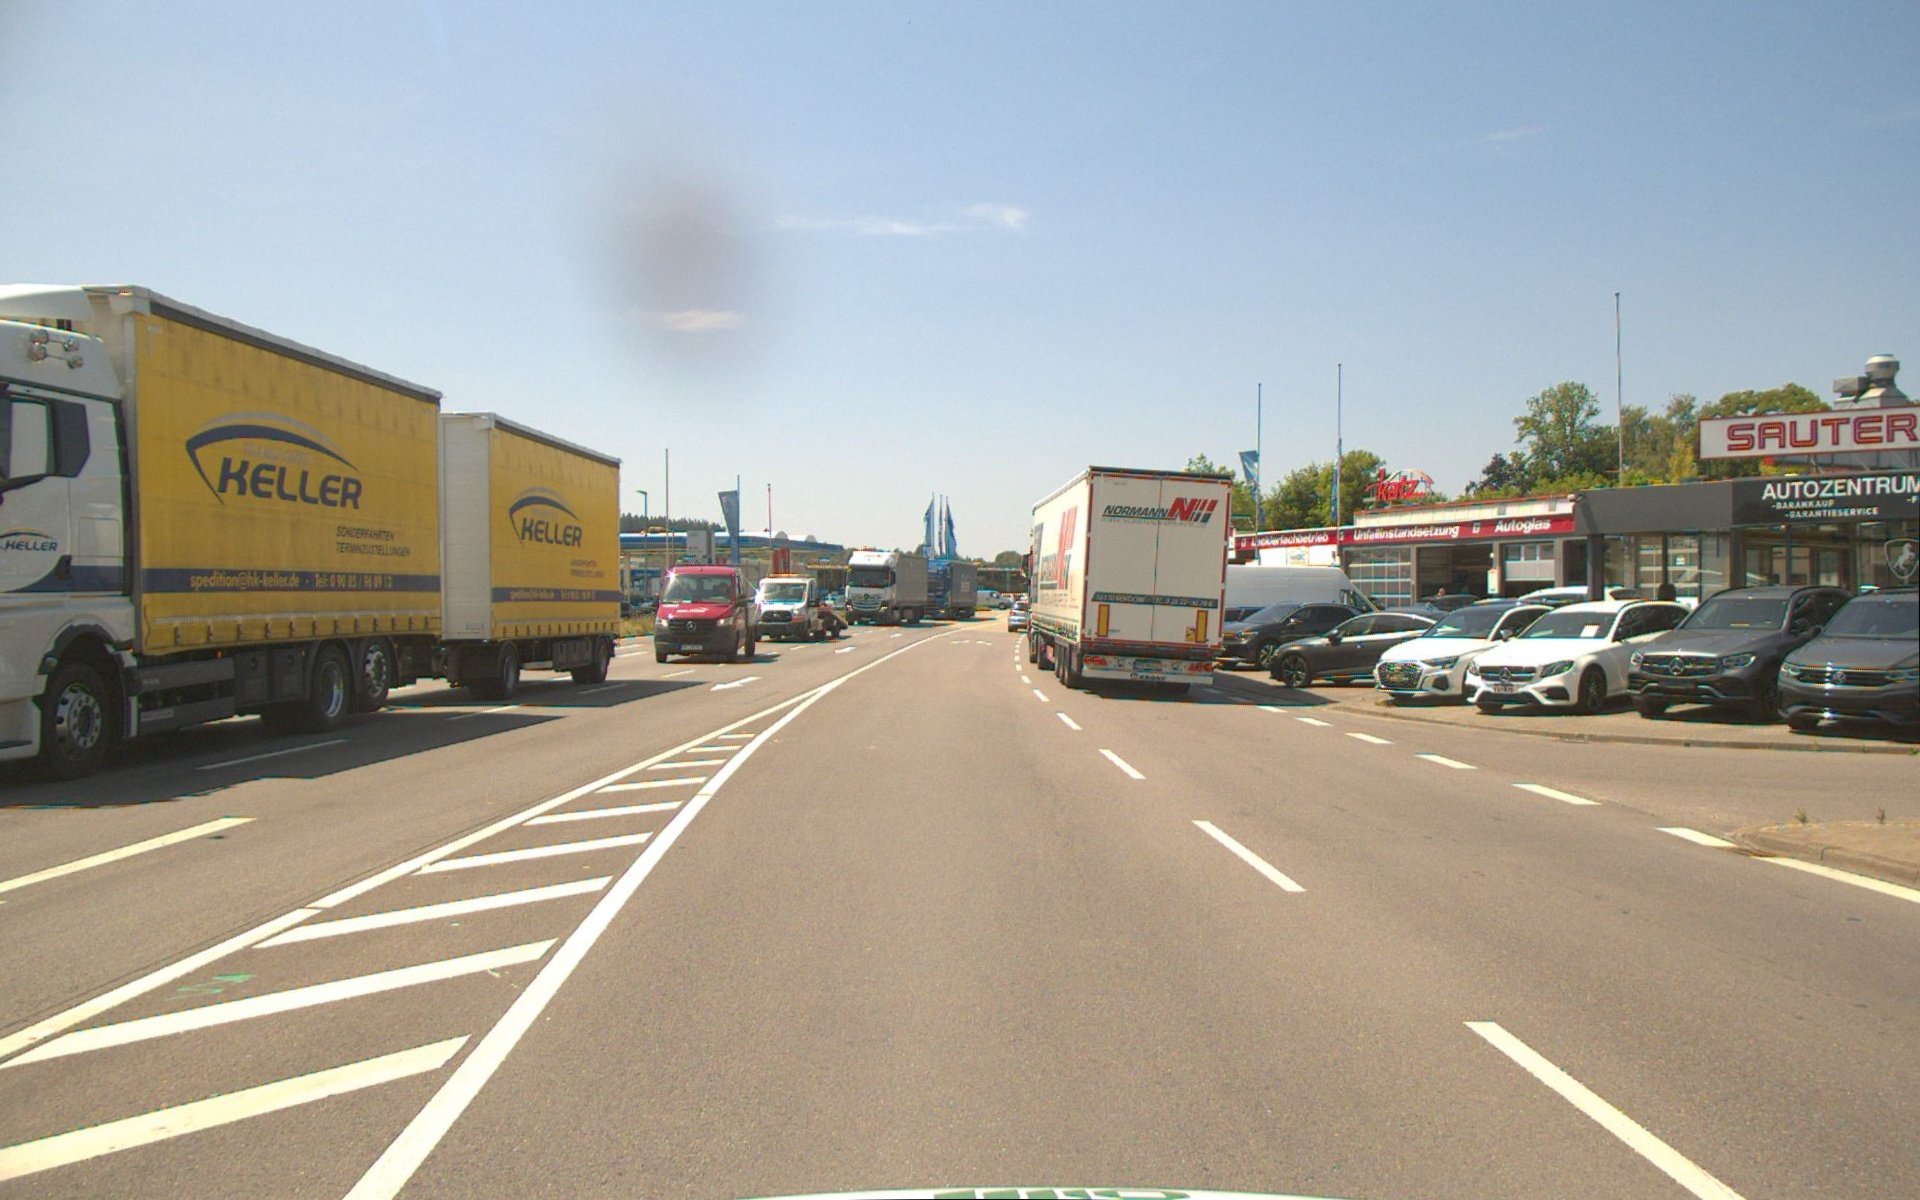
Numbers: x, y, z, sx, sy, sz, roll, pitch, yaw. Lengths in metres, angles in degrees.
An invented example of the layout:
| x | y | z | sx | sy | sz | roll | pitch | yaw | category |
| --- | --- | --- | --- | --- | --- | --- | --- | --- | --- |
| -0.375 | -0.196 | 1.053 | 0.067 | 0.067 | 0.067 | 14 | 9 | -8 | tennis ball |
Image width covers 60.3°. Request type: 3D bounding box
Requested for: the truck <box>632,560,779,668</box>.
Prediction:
| x | y | z | sx | sy | sz | roll | pitch | yaw | category |
| --- | --- | --- | --- | --- | --- | --- | --- | --- | --- |
| -6.353 | 0.347 | 42.235 | 2.346 | 2.487 | 6.874 | 1 | 0 | 3 | truck |

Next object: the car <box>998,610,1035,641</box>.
| x | y | z | sx | sy | sz | roll | pitch | yaw | category |
| --- | --- | --- | --- | --- | --- | --- | --- | --- | --- |
| 3.028 | 1.378 | 89.167 | 1.884 | 1.638 | 4.095 | 0 | 0 | 1 | car |

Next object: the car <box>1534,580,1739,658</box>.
| x | y | z | sx | sy | sz | roll | pitch | yaw | category |
| --- | --- | --- | --- | --- | --- | --- | --- | --- | --- |
| 15.262 | 0.449 | 37.448 | 1.719 | 1.510 | 3.878 | -2 | -2 | -43 | car |

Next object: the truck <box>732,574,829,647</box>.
| x | y | z | sx | sy | sz | roll | pitch | yaw | category |
| --- | --- | --- | --- | --- | --- | --- | --- | --- | --- |
| -6.282 | 0.336 | 58.780 | 2.374 | 2.381 | 5.677 | -2 | 0 | 4 | truck |

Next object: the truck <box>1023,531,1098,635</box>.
| x | y | z | sx | sy | sz | roll | pitch | yaw | category |
| --- | --- | --- | --- | --- | --- | --- | --- | --- | --- |
| 4.005 | -0.643 | 68.280 | 2.593 | 3.873 | 13.362 | -1 | 0 | 1 | truck |

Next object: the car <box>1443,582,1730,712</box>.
| x | y | z | sx | sy | sz | roll | pitch | yaw | category |
| --- | --- | --- | --- | --- | --- | --- | --- | --- | --- |
| 9.565 | 0.652 | 25.080 | 4.694 | 1.580 | 1.972 | -4 | 1 | -39 | car |

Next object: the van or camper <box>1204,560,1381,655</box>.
| x | y | z | sx | sy | sz | roll | pitch | yaw | category |
| --- | --- | --- | --- | --- | --- | --- | --- | --- | --- |
| 10.506 | 0.233 | 52.625 | 5.256 | 2.956 | 2.233 | 0 | 0 | 3 | van or camper |

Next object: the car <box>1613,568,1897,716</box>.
| x | y | z | sx | sy | sz | roll | pitch | yaw | category |
| --- | --- | --- | --- | --- | --- | --- | --- | --- | --- |
| 11.115 | 0.525 | 23.028 | 4.131 | 1.721 | 1.860 | -3 | 1 | -37 | car |

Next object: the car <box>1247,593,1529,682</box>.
| x | y | z | sx | sy | sz | roll | pitch | yaw | category |
| --- | --- | --- | --- | --- | --- | --- | --- | --- | --- |
| 7.980 | 0.740 | 31.220 | 1.913 | 1.411 | 4.856 | -2 | -2 | -43 | car |

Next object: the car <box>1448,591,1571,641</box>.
| x | y | z | sx | sy | sz | roll | pitch | yaw | category |
| --- | --- | --- | --- | --- | --- | --- | --- | --- | --- |
| 20.275 | 0.566 | 61.074 | 3.919 | 1.601 | 1.849 | -3 | 0 | -14 | car |

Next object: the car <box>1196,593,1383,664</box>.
| x | y | z | sx | sy | sz | roll | pitch | yaw | category |
| --- | --- | --- | --- | --- | --- | --- | --- | --- | --- |
| 8.281 | 0.688 | 41.587 | 4.273 | 1.653 | 2.044 | -1 | 0 | -26 | car |

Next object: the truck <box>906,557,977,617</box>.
| x | y | z | sx | sy | sz | roll | pitch | yaw | category |
| --- | --- | --- | --- | --- | --- | --- | --- | --- | --- |
| -1.132 | -0.799 | 119.172 | 2.783 | 3.957 | 17.018 | 1 | 0 | 7 | truck |

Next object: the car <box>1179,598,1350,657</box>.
| x | y | z | sx | sy | sz | roll | pitch | yaw | category |
| --- | --- | --- | --- | --- | --- | --- | --- | --- | --- |
| 8.219 | 0.737 | 44.940 | 4.238 | 1.525 | 2.081 | 0 | 0 | -1 | car |

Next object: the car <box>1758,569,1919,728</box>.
| x | y | z | sx | sy | sz | roll | pitch | yaw | category |
| --- | --- | --- | --- | --- | --- | --- | --- | --- | --- |
| 12.030 | 0.528 | 20.960 | 4.145 | 1.721 | 1.858 | -4 | 1 | -40 | car |

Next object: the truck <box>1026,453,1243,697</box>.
| x | y | z | sx | sy | sz | roll | pitch | yaw | category |
| --- | --- | --- | --- | --- | --- | --- | --- | --- | --- |
| 3.359 | -0.420 | 37.308 | 2.912 | 4.165 | 17.633 | 1 | 0 | 0 | truck |

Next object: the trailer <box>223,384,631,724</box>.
| x | y | z | sx | sy | sz | roll | pitch | yaw | category |
| --- | --- | --- | --- | --- | --- | --- | --- | --- | --- |
| -7.877 | -0.599 | 26.361 | 2.949 | 4.362 | 10.061 | -1 | 0 | 2 | trailer |

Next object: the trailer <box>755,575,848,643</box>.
| x | y | z | sx | sy | sz | roll | pitch | yaw | category |
| --- | --- | --- | --- | --- | --- | --- | --- | --- | --- |
| -5.969 | 0.337 | 63.277 | 2.377 | 2.379 | 6.900 | -2 | 0 | 4 | trailer |

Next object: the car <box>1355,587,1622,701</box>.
| x | y | z | sx | sy | sz | roll | pitch | yaw | category |
| --- | --- | --- | --- | --- | --- | --- | --- | --- | --- |
| 8.823 | 0.676 | 27.492 | 4.419 | 1.433 | 1.727 | -5 | 2 | -32 | car |

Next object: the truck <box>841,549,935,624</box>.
| x | y | z | sx | sy | sz | roll | pitch | yaw | category |
| --- | --- | --- | --- | --- | --- | --- | --- | --- | --- |
| -3.980 | -0.671 | 96.679 | 2.731 | 3.957 | 16.494 | 1 | 0 | 7 | truck |

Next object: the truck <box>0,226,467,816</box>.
| x | y | z | sx | sy | sz | roll | pitch | yaw | category |
| --- | --- | --- | --- | --- | --- | --- | --- | --- | --- |
| -8.156 | -0.556 | 16.763 | 2.966 | 4.177 | 10.356 | -1 | 0 | 1 | truck |

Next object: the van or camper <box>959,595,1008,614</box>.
| x | y | z | sx | sy | sz | roll | pitch | yaw | category |
| --- | --- | --- | --- | --- | --- | --- | --- | --- | --- |
| 2.456 | 0.464 | 171.476 | 4.744 | 1.938 | 1.906 | 1 | -1 | 10 | van or camper |

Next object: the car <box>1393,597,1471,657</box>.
| x | y | z | sx | sy | sz | roll | pitch | yaw | category |
| --- | --- | --- | --- | --- | --- | --- | --- | --- | --- |
| 13.040 | 0.712 | 45.858 | 1.771 | 1.554 | 4.386 | -1 | 0 | 12 | car |

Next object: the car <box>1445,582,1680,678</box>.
| x | y | z | sx | sy | sz | roll | pitch | yaw | category |
| --- | --- | --- | --- | --- | --- | --- | --- | --- | --- |
| 12.310 | 0.639 | 33.956 | 1.840 | 1.744 | 4.082 | -2 | -2 | -43 | car |
